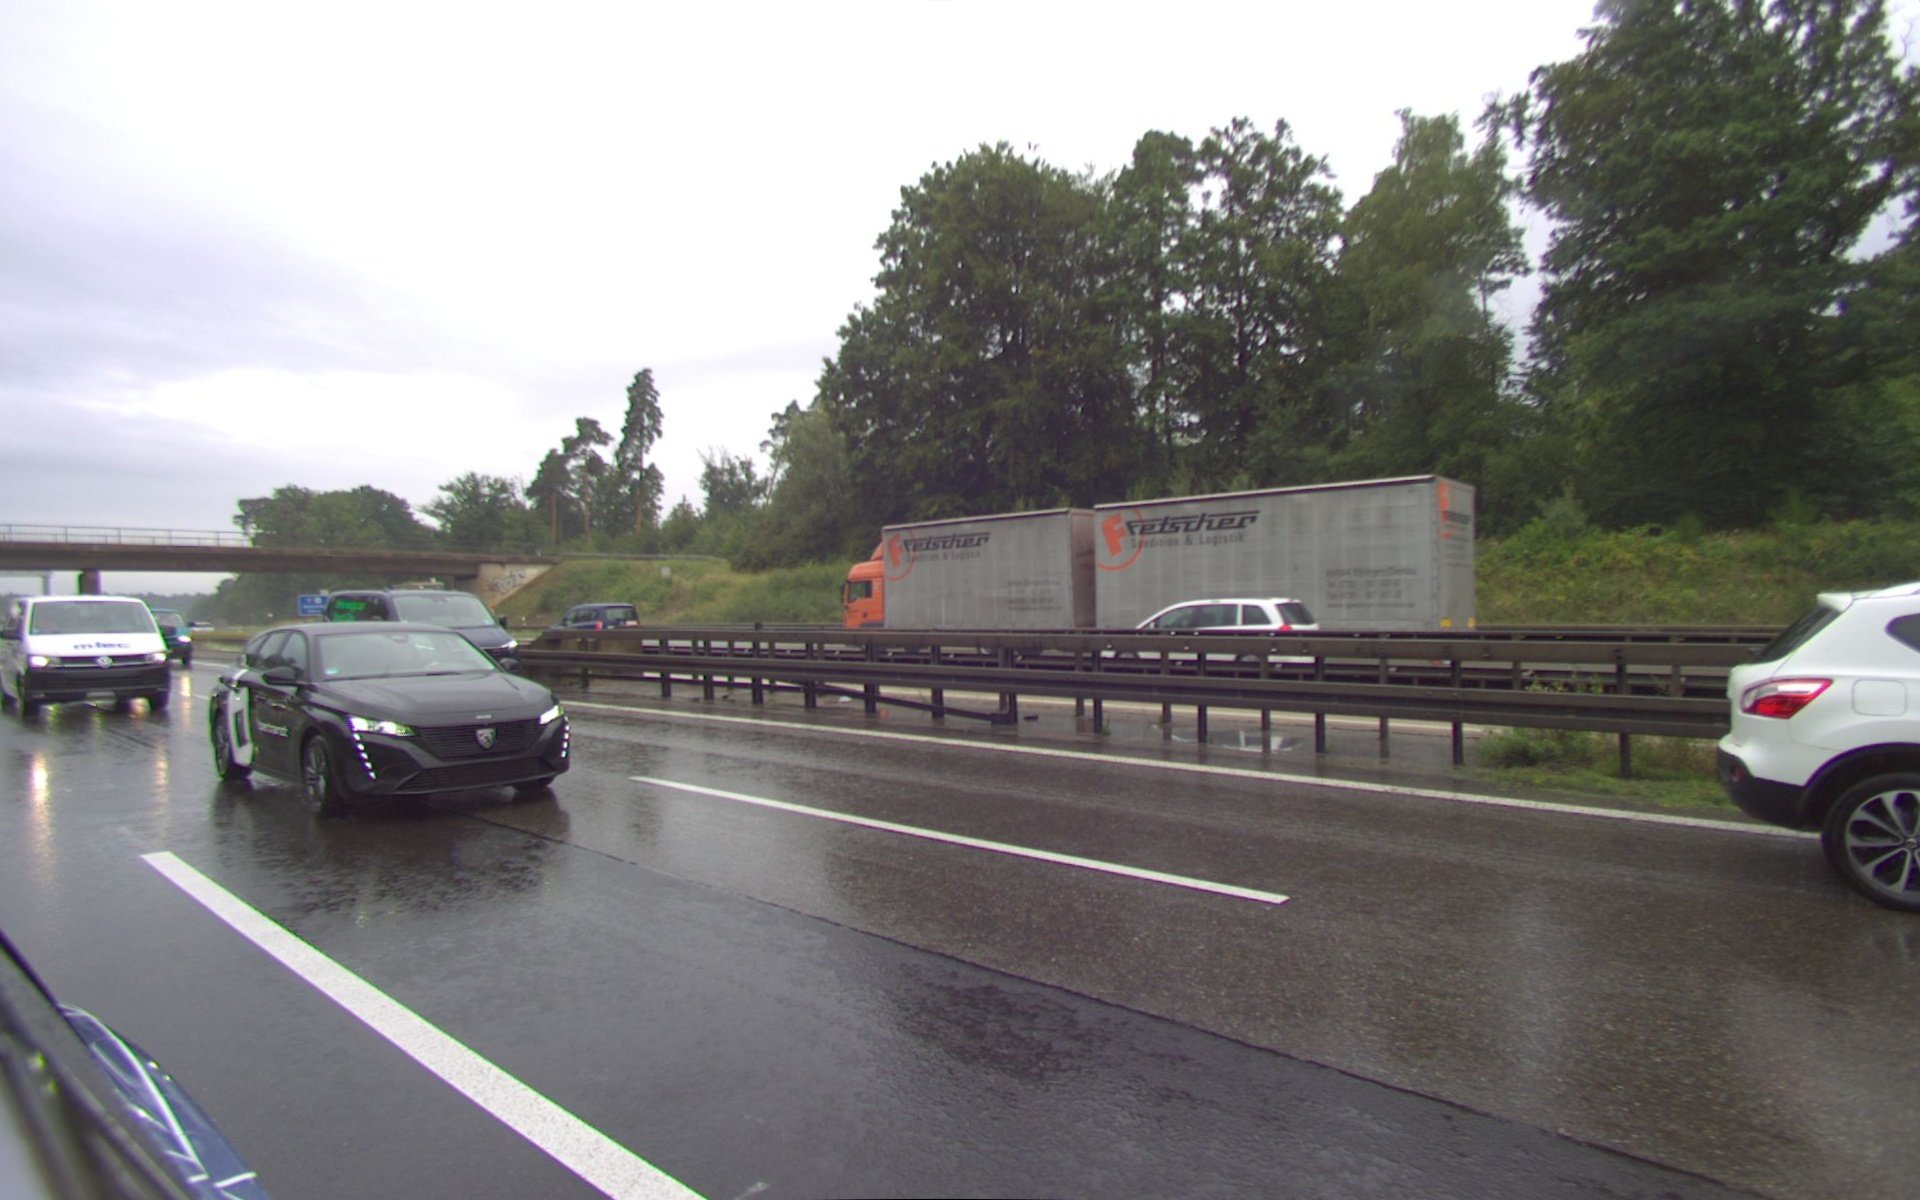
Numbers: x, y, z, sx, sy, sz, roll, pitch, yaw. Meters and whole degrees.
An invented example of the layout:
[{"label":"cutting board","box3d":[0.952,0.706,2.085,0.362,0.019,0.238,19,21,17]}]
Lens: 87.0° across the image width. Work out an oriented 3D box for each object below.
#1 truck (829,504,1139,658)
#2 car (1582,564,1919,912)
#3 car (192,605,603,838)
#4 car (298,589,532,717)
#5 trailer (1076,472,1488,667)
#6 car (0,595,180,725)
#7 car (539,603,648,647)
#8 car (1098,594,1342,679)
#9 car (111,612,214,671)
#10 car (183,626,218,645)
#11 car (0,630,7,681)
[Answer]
[{"label":"truck","box3d":[0.341,-0.394,30.396,10.027,3.961,2.674,-2,-1,43]},{"label":"car","box3d":[5.695,0.610,4.724,4.466,1.603,1.825,-2,-1,43]},{"label":"car","box3d":[-5.052,0.843,8.780,4.466,1.516,1.825,-2,-2,43]},{"label":"car","box3d":[-9.780,0.850,17.957,5.240,1.958,1.970,-1,-1,41]},{"label":"trailer","box3d":[7.208,-0.518,23.983,9.005,3.847,2.654,-2,-1,42]},{"label":"car","box3d":[-14.995,0.925,17.211,4.767,1.894,1.968,-2,-1,43]},{"label":"car","box3d":[-13.297,0.905,36.610,4.329,1.509,1.817,-2,-1,41]},{"label":"car","box3d":[5.071,0.684,20.059,4.329,1.509,1.817,-2,-1,41]},{"label":"car","box3d":[-27.524,1.392,34.892,4.756,1.877,1.891,-1,0,40]},{"label":"car","box3d":[-64.218,2.962,85.541,1.814,1.509,4.612,-1,-1,-43]},{"label":"car","box3d":[-30.637,1.691,30.986,4.466,1.516,1.825,-1,-1,43]}]
